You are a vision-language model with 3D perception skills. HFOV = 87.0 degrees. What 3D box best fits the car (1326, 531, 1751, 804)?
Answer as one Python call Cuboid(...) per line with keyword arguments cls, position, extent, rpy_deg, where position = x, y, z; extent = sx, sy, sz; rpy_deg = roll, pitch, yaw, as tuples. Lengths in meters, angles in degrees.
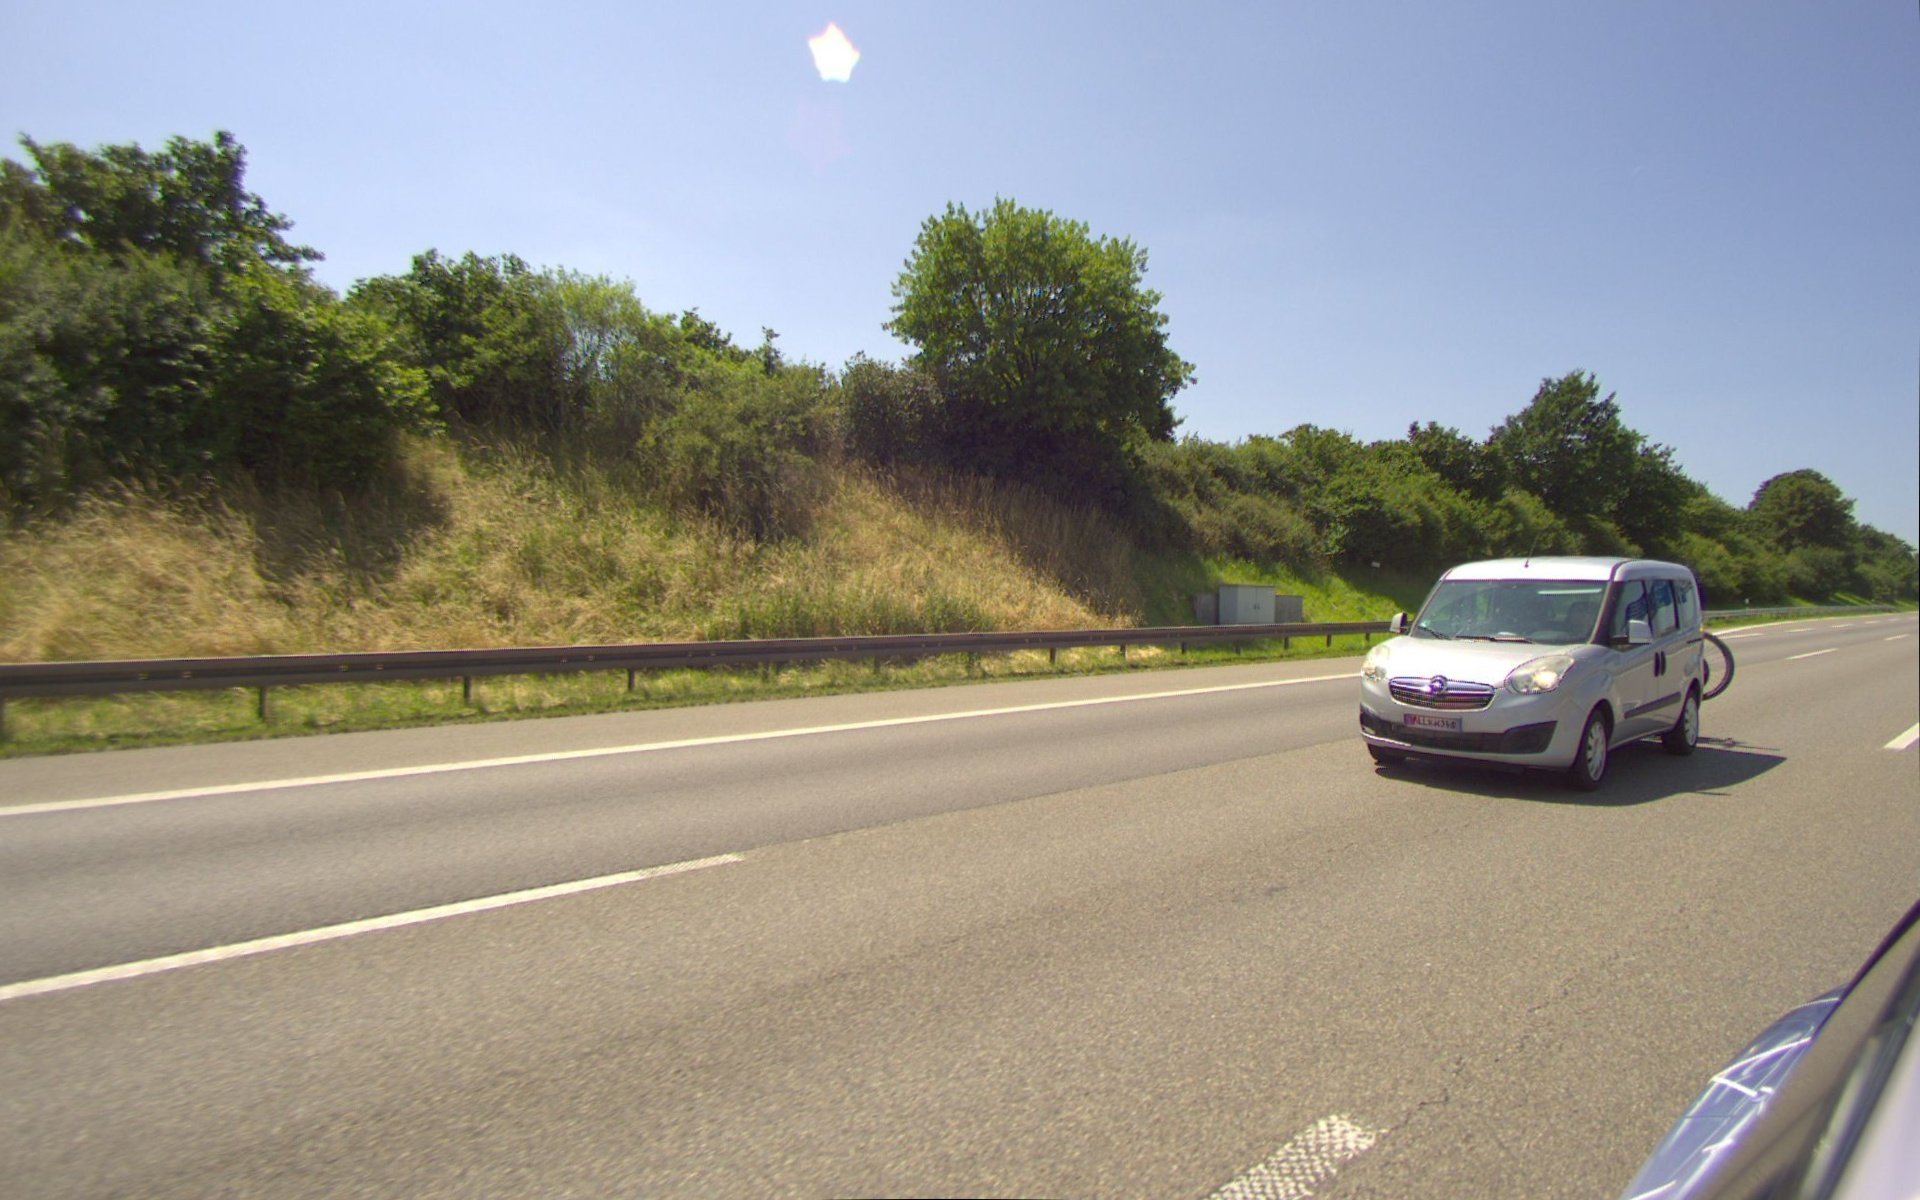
Cuboid(cls="car", position=(5.550, 0.439, 9.331), extent=(5.219, 1.870, 1.810), rpy_deg=(0, 1, -41))
